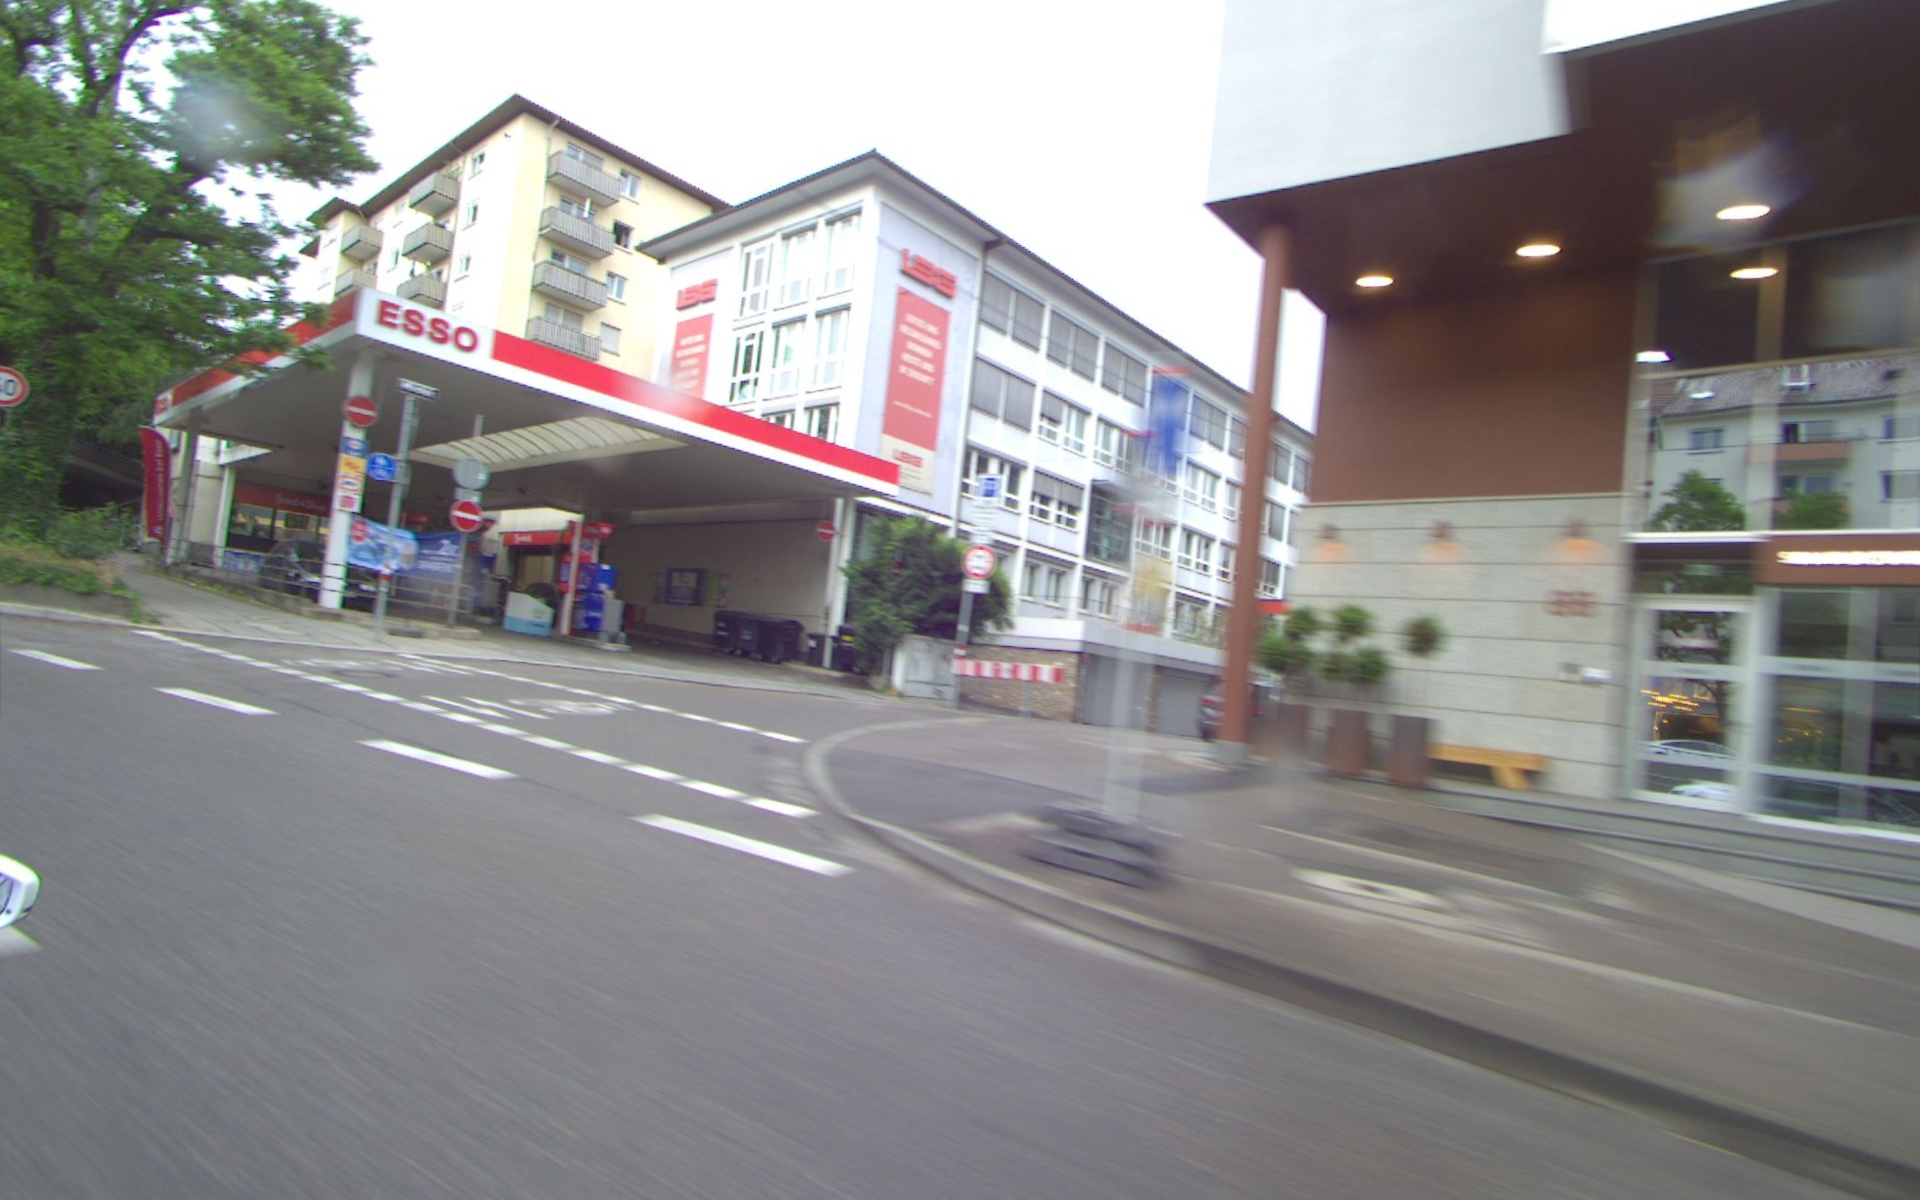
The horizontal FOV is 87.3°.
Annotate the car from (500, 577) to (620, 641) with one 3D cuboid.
[{"bbox_3d":[-12.697,0.275,31.840,3.947,1.525,1.795,4,-6,43],"label":"car"}]

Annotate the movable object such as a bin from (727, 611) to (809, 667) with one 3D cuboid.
[{"bbox_3d":[-6.171,1.253,32.284,2.474,1.441,1.162,6,-3,42],"label":"movable object such as a bin"}]

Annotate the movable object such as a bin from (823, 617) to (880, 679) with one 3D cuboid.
[{"bbox_3d":[-3.152,1.393,29.191,1.342,1.583,0.763,6,-2,42],"label":"movable object such as a bin"}]

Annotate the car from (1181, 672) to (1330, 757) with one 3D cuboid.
[{"bbox_3d":[7.348,2.855,24.793,1.776,1.526,3.986,7,-5,43],"label":"car"}]

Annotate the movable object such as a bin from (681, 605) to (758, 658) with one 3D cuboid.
[{"bbox_3d":[-8.128,1.041,33.937,2.474,1.441,1.162,6,-3,42],"label":"movable object such as a bin"}]

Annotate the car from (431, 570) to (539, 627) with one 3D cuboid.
[{"bbox_3d":[-16.788,-0.082,35.478,4.175,1.525,1.795,4,-6,43],"label":"car"}]

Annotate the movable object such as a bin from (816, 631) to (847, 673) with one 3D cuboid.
[{"bbox_3d":[-3.819,1.547,29.975,0.651,1.153,0.452,6,-2,42],"label":"movable object such as a bin"}]

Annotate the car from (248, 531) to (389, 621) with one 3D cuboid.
[{"bbox_3d":[-14.448,-0.572,22.577,3.818,1.642,1.768,5,-2,45],"label":"car"}]
